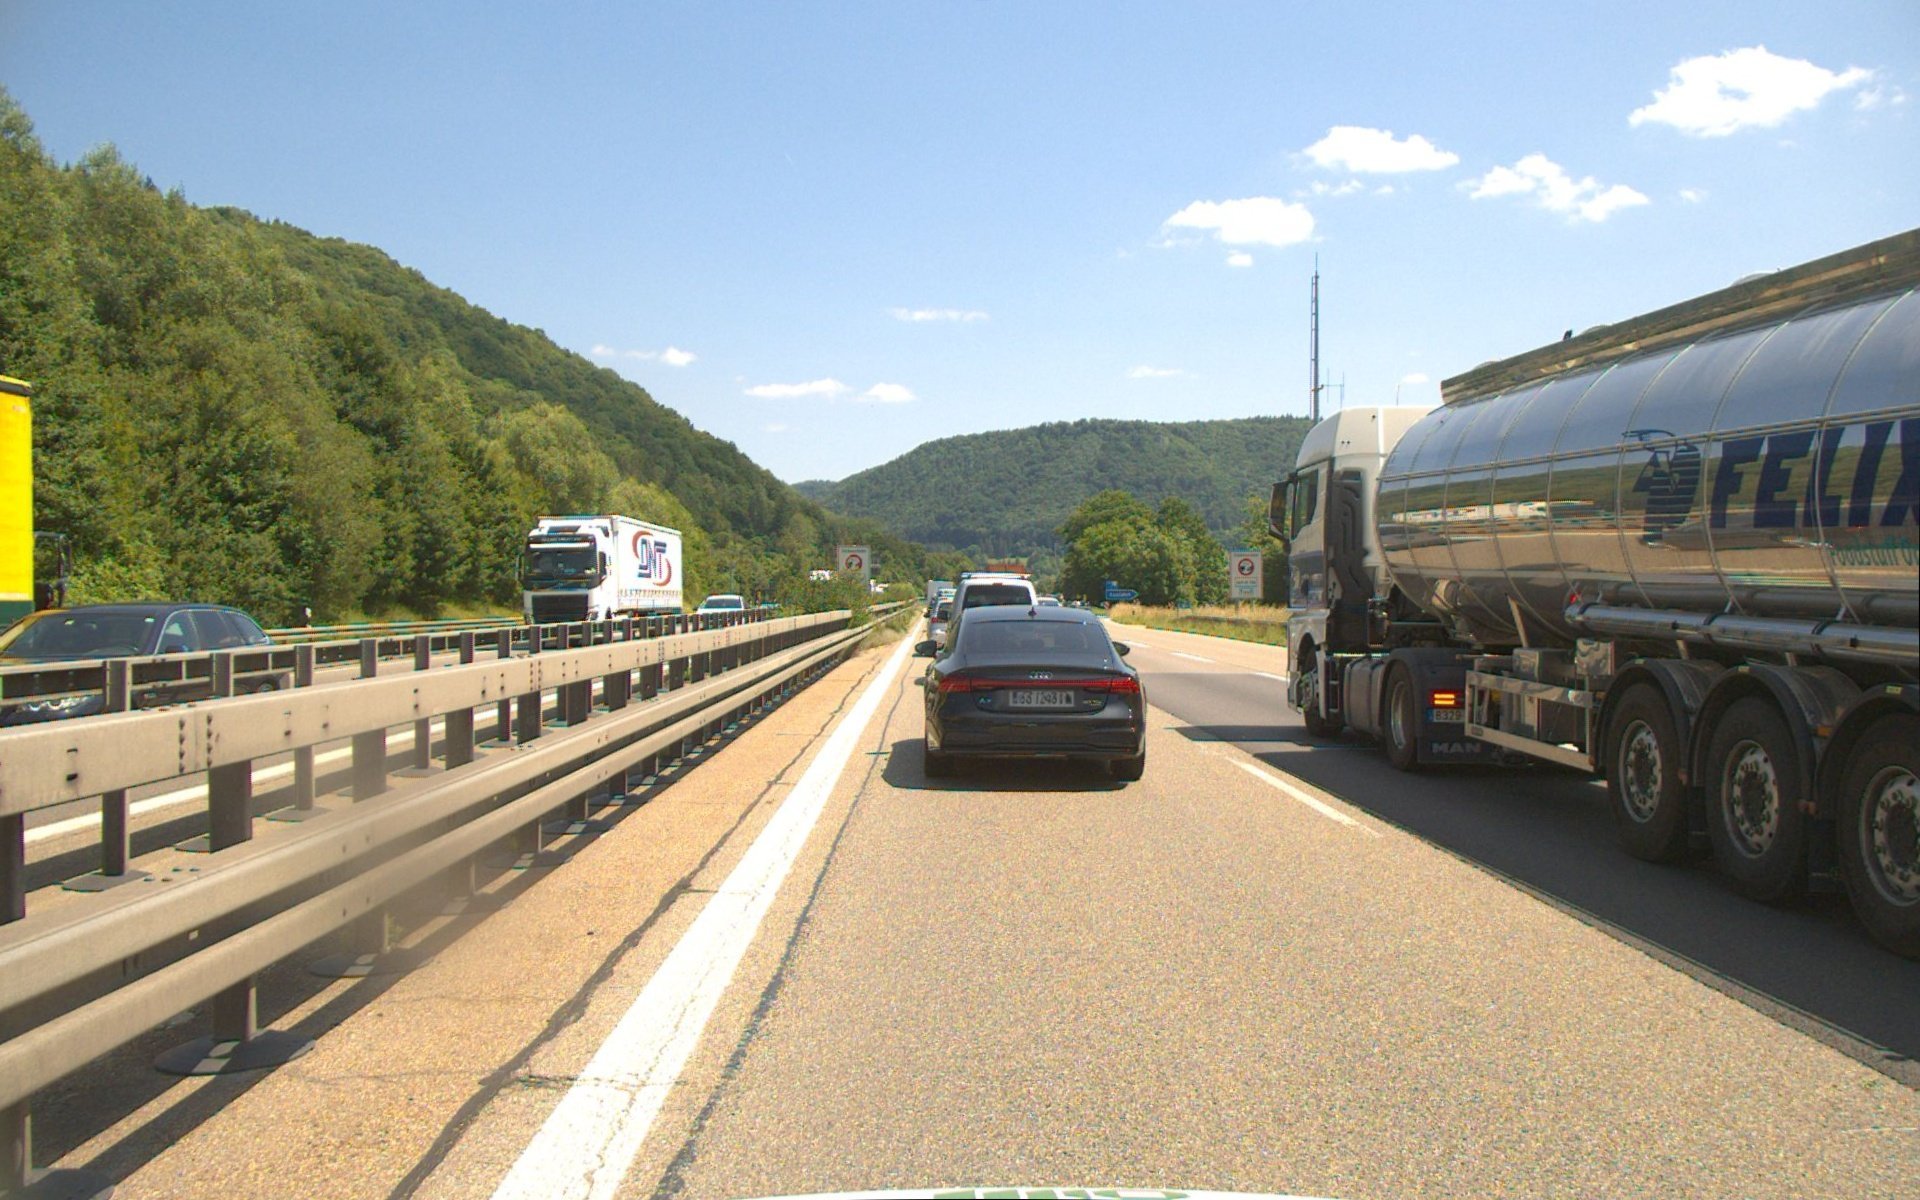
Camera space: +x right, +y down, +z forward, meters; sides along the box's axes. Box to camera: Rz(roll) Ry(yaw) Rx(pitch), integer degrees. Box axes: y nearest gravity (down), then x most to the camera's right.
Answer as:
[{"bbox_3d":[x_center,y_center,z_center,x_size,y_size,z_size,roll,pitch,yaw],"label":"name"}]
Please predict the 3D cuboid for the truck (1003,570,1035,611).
[{"bbox_3d":[6.134,-0.933,173.516,2.760,4.073,14.954,1,0,0],"label":"truck"}]

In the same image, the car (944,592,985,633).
[{"bbox_3d":[0.200,0.616,82.945,1.953,2.049,3.999,0,0,-1],"label":"car"}]

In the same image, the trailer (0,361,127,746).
[{"bbox_3d":[-11.898,-0.534,15.661,2.769,4.219,10.403,1,0,-1],"label":"trailer"}]

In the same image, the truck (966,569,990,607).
[{"bbox_3d":[1.702,-1.137,159.392,1.953,3.507,11.809,1,0,-1],"label":"truck"}]

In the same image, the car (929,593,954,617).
[{"bbox_3d":[-1.274,0.318,116.017,1.677,1.647,4.000,0,0,0],"label":"car"}]

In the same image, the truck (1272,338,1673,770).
[{"bbox_3d":[5.097,-0.405,17.449,2.461,3.824,5.244,1,0,-2],"label":"truck"}]

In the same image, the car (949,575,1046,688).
[{"bbox_3d":[0.616,0.536,29.643,1.544,1.865,3.999,1,0,-1],"label":"car"}]

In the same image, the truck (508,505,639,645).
[{"bbox_3d":[-12.268,-0.744,53.011,2.850,4.173,5.847,1,0,-1],"label":"truck"}]

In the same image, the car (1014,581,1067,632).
[{"bbox_3d":[3.298,0.248,68.621,1.953,2.049,3.999,0,0,-1],"label":"car"}]

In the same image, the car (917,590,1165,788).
[{"bbox_3d":[0.581,0.695,14.866,1.812,1.514,4.080,1,0,-3],"label":"car"}]

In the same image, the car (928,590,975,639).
[{"bbox_3d":[-0.386,0.597,71.281,1.953,2.049,3.999,0,0,-1],"label":"car"}]

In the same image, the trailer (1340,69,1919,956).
[{"bbox_3d":[5.261,-0.360,10.850,2.487,3.801,11.887,1,0,-1],"label":"trailer"}]

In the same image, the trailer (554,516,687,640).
[{"bbox_3d":[-12.418,-0.725,61.642,2.798,4.147,11.260,1,0,-1],"label":"trailer"}]

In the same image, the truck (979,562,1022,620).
[{"bbox_3d":[2.955,-0.599,124.111,2.760,4.073,14.954,1,0,0],"label":"truck"}]

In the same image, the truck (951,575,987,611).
[{"bbox_3d":[1.248,-0.905,213.349,3.714,4.491,14.962,0,0,4],"label":"truck"}]

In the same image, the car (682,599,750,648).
[{"bbox_3d":[-8.188,0.775,55.749,1.711,1.545,3.999,1,0,-1],"label":"car"}]

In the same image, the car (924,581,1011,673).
[{"bbox_3d":[0.145,0.621,39.721,1.953,2.049,3.999,1,0,-1],"label":"car"}]

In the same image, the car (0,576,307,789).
[{"bbox_3d":[-7.669,0.618,14.954,1.808,1.624,4.749,0,0,-2],"label":"car"}]

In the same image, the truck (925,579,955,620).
[{"bbox_3d":[-1.778,-0.047,147.449,2.575,3.501,11.419,0,0,0],"label":"truck"}]

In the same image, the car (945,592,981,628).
[{"bbox_3d":[0.141,0.474,79.399,1.677,1.647,4.000,0,0,0],"label":"car"}]
